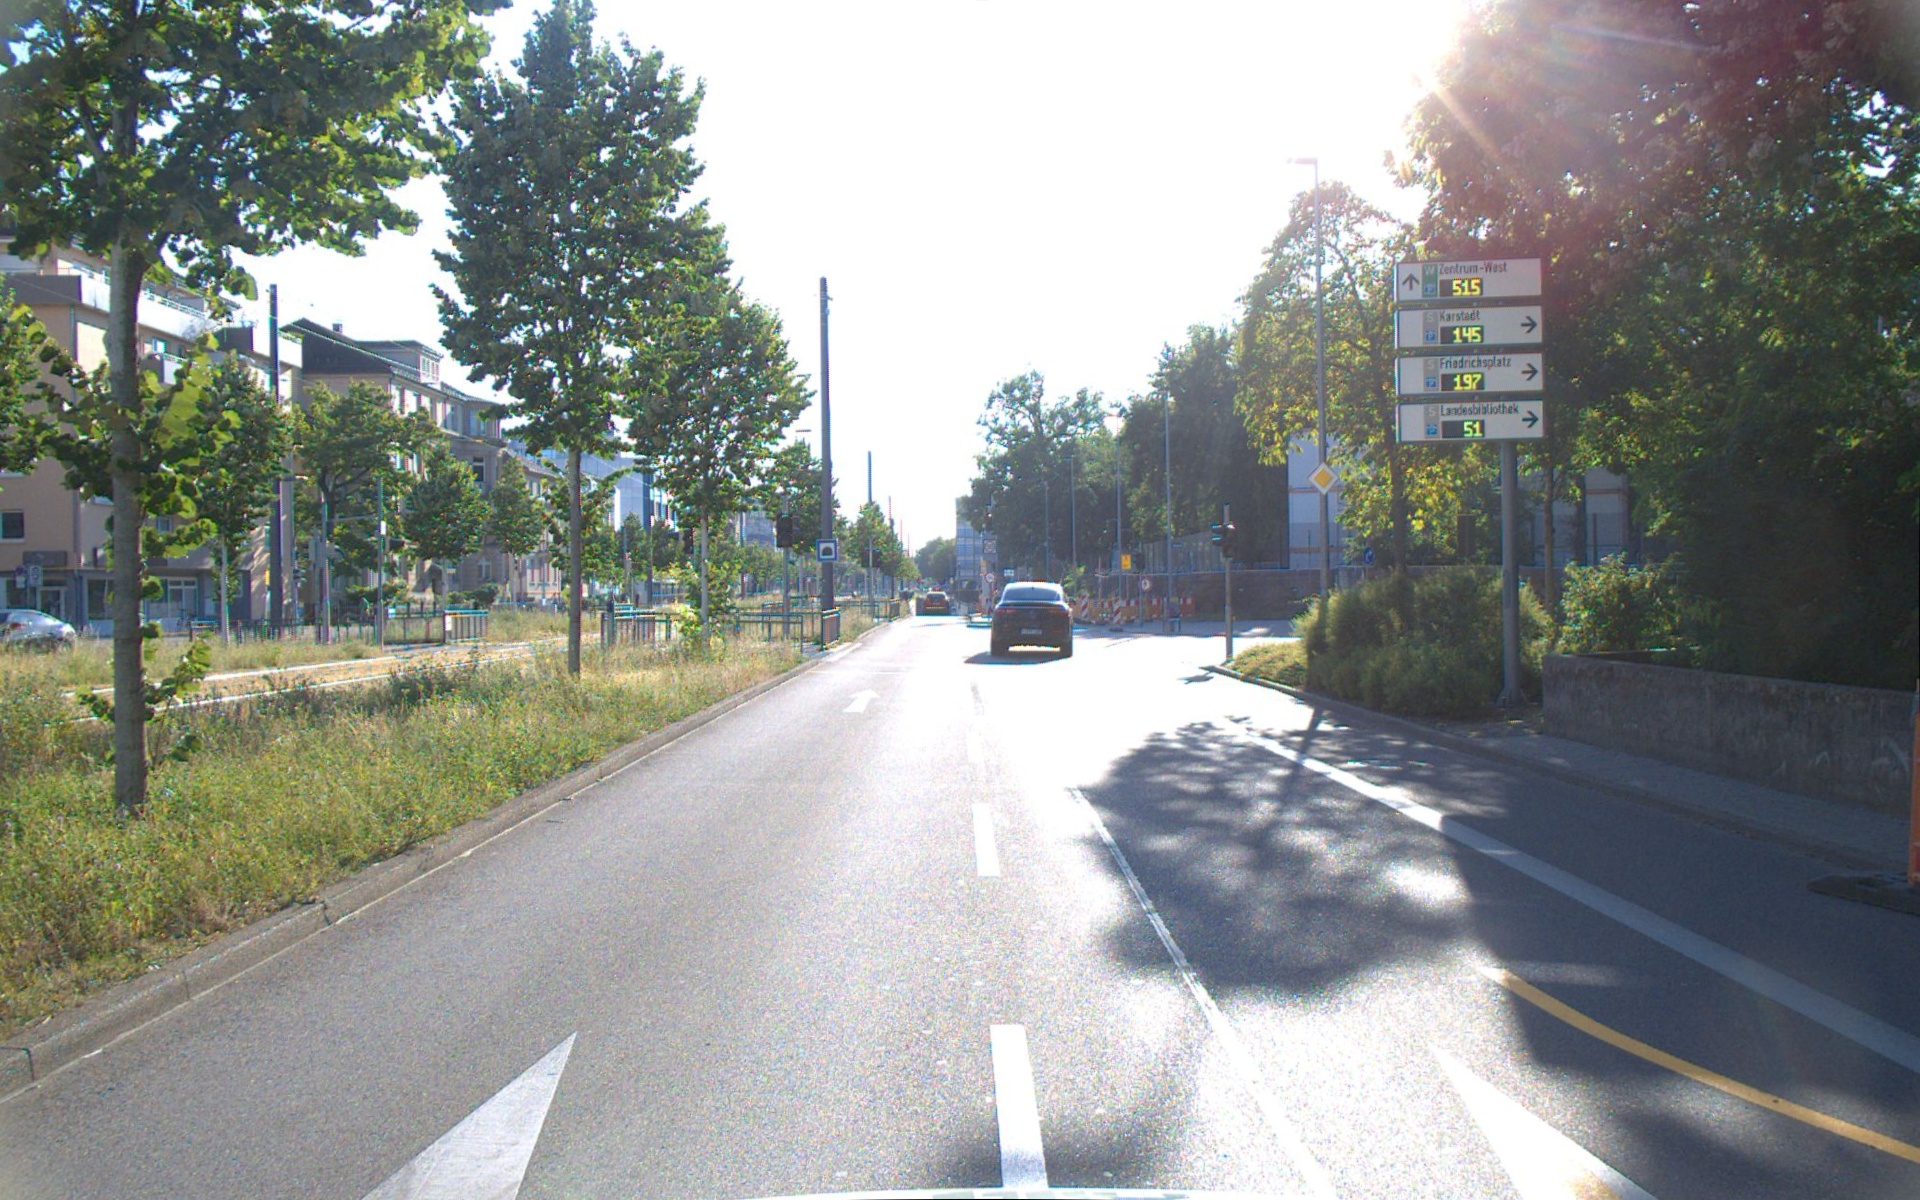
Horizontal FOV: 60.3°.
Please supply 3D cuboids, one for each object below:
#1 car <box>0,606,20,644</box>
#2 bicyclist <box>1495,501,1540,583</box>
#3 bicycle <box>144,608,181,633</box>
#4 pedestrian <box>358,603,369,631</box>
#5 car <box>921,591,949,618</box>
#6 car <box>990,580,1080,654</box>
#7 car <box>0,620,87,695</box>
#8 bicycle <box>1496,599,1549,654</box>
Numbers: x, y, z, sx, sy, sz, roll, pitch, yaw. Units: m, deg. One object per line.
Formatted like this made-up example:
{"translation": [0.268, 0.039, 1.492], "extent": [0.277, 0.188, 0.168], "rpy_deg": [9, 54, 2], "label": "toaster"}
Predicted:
{"translation": [-40.613, 1.063, 67.046], "extent": [3.906, 1.522, 1.847], "rpy_deg": [-1, 0, -1], "label": "car"}
{"translation": [11.303, -1.164, 33.562], "extent": [0.572, 1.643, 0.903], "rpy_deg": [-1, 0, -1], "label": "bicyclist"}
{"translation": [-38.373, 0.976, 79.623], "extent": [0.520, 1.157, 2.586], "rpy_deg": [-1, 0, -1], "label": "bicycle"}
{"translation": [-33.976, 0.973, 94.247], "extent": [0.514, 1.583, 0.444], "rpy_deg": [-1, 0, -31], "label": "pedestrian"}
{"translation": [-1.610, 0.285, 108.677], "extent": [1.789, 1.688, 3.999], "rpy_deg": [1, 0, -1], "label": "car"}
{"translation": [1.771, 0.398, 40.454], "extent": [1.964, 1.688, 3.999], "rpy_deg": [1, 0, -1], "label": "car"}
{"translation": [-22.579, 1.321, 38.676], "extent": [1.831, 1.616, 4.638], "rpy_deg": [1, 0, 0], "label": "car"}
{"translation": [11.394, 0.518, 33.575], "extent": [0.419, 1.080, 1.911], "rpy_deg": [-1, 0, 0], "label": "bicycle"}
